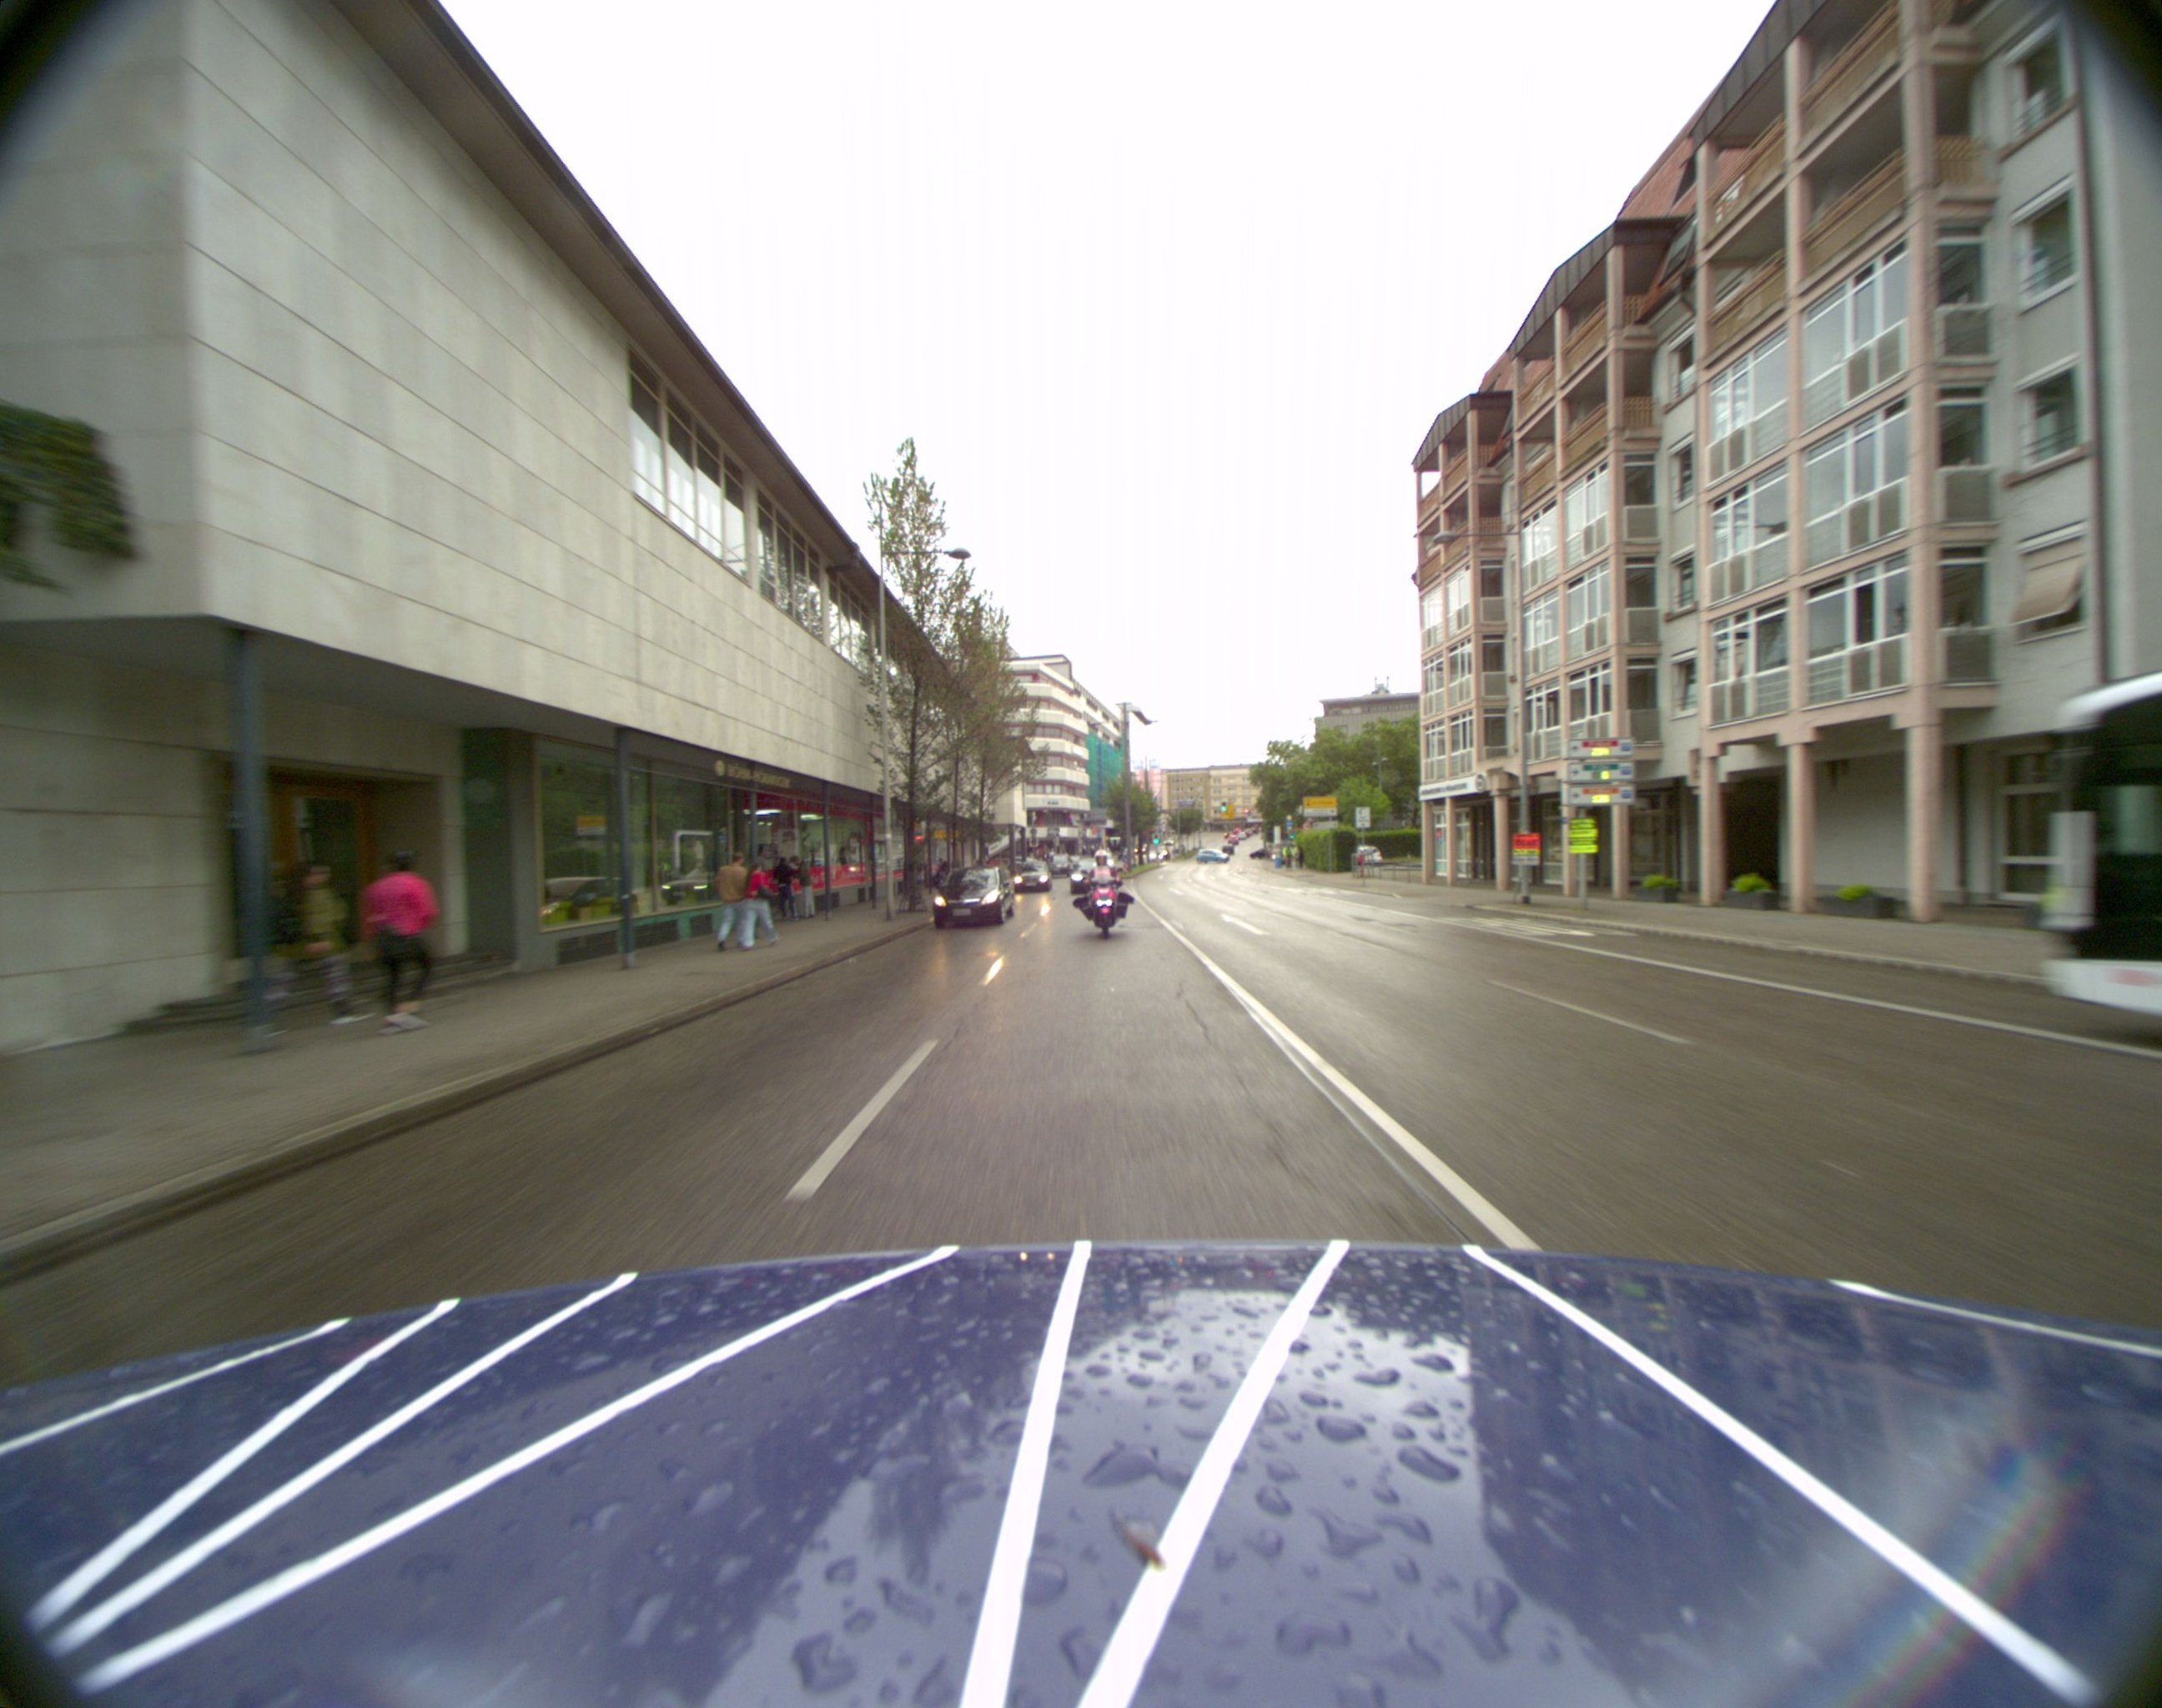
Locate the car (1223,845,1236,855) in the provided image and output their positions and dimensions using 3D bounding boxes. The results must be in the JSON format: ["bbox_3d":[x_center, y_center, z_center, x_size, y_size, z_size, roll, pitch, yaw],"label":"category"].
[{"bbox_3d":[22.222,-0.633,113.415,1.760,1.412,4.099,1,2,12],"label":"car"}]

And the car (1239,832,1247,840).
[{"bbox_3d":[34.017,-3.795,159.435,1.674,1.507,3.646,0,2,13],"label":"car"}]

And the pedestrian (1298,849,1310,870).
[{"bbox_3d":[17.242,0.428,58.718,0.716,1.550,0.565,-1,1,4],"label":"pedestrian"}]

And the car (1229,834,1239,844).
[{"bbox_3d":[28.432,-2.809,141.026,1.830,1.726,4.313,-1,2,12],"label":"car"}]

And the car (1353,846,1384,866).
[{"bbox_3d":[23.155,0.188,61.310,1.598,1.530,3.602,-2,0,8],"label":"car"}]

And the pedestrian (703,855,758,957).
[{"bbox_3d":[-6.337,0.919,13.743,0.700,1.791,0.606,0,1,1],"label":"pedestrian"}]

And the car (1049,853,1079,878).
[{"bbox_3d":[-1.222,0.809,56.166,1.735,1.669,4.249,-3,1,4],"label":"car"}]

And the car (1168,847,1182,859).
[{"bbox_3d":[14.979,-0.166,120.882,1.830,1.727,4.002,0,4,14],"label":"car"}]

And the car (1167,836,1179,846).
[{"bbox_3d":[18.010,-2.513,149.116,1.830,1.727,4.002,0,4,14],"label":"car"}]

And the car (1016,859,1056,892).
[{"bbox_3d":[-2.122,0.985,36.371,1.596,1.432,3.627,-2,0,1],"label":"car"}]

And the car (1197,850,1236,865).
[{"bbox_3d":[14.518,0.409,81.349,3.681,1.465,1.705,-3,-2,33],"label":"car"}]

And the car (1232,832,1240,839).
[{"bbox_3d":[33.628,-4.056,164.724,1.625,1.547,3.662,-1,1,12],"label":"car"}]

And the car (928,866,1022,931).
[{"bbox_3d":[-2.650,1.069,19.759,1.712,1.448,3.743,-2,-1,2],"label":"car"}]

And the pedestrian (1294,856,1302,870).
[{"bbox_3d":[16.960,0.696,59.322,0.469,1.144,0.502,-1,1,5],"label":"pedestrian"}]

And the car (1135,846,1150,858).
[{"bbox_3d":[10.281,-0.398,126.032,1.830,1.727,4.002,0,4,14],"label":"car"}]

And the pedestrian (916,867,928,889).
[{"bbox_3d":[-8.102,1.213,38.805,0.431,1.129,0.508,-1,1,-34],"label":"pedestrian"}]

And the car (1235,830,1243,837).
[{"bbox_3d":[37.610,-4.936,180.770,1.716,1.471,3.960,1,2,12],"label":"car"}]

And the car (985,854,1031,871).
[{"bbox_3d":[-7.107,0.834,73.665,3.989,1.468,2.003,-2,2,32],"label":"car"}]

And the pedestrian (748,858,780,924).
[{"bbox_3d":[-8.394,0.969,20.111,0.537,1.709,0.535,-1,1,11],"label":"pedestrian"}]

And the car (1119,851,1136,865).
[{"bbox_3d":[6.806,0.603,111.034,1.830,1.727,4.002,0,4,14],"label":"car"}]

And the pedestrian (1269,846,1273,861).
[{"bbox_3d":[23.461,-0.076,93.996,0.412,1.753,0.677,-1,0,11],"label":"pedestrian"}]

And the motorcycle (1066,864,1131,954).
[{"bbox_3d":[0.398,0.965,14.469,0.831,1.479,2.867,0,0,10],"label":"motorcycle"}]

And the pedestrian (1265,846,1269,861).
[{"bbox_3d":[22.745,-0.045,92.797,0.447,1.827,0.676,-1,4,9],"label":"pedestrian"}]

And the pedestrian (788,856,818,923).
[{"bbox_3d":[-7.593,0.967,20.778,0.537,1.809,0.535,-1,1,9],"label":"pedestrian"}]

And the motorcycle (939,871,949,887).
[{"bbox_3d":[-7.217,1.309,40.067,0.325,0.799,0.920,0,0,1],"label":"motorcycle"}]

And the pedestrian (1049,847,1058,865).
[{"bbox_3d":[-2.904,0.202,80.300,0.623,1.837,0.848,-1,3,20],"label":"pedestrian"}]

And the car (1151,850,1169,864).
[{"bbox_3d":[9.536,0.324,91.810,1.768,1.401,4.002,-3,2,11],"label":"car"}]

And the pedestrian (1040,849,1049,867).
[{"bbox_3d":[-3.861,0.414,80.231,0.623,1.764,0.678,-1,3,20],"label":"pedestrian"}]

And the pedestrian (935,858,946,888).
[{"bbox_3d":[-7.315,0.978,39.542,0.430,1.557,0.510,-1,1,5],"label":"pedestrian"}]

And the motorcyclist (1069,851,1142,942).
[{"bbox_3d":[0.507,0.840,15.202,1.295,1.756,0.846,-1,0,11],"label":"motorcyclist"}]

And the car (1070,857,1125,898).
[{"bbox_3d":[0.788,0.931,32.145,1.937,1.511,4.470,-2,0,6],"label":"car"}]

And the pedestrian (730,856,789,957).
[{"bbox_3d":[-5.788,0.921,13.732,0.655,1.757,0.923,0,1,1],"label":"pedestrian"}]

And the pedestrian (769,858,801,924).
[{"bbox_3d":[-7.738,0.961,19.884,0.537,1.709,0.535,-1,1,9],"label":"pedestrian"}]

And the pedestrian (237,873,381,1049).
[{"bbox_3d":[-7.308,0.982,7.217,0.727,1.580,0.606,0,1,1],"label":"pedestrian"}]

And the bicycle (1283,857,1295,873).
[{"bbox_3d":[15.256,0.784,55.684,0.651,1.104,2.059,-1,1,10],"label":"bicycle"}]

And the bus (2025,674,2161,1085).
[{"bbox_3d":[9.263,0.072,0.296,2.751,3.057,12.240,-2,-1,2],"label":"bus"}]

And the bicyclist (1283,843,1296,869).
[{"bbox_3d":[15.223,0.119,55.533,0.793,1.879,0.954,-1,1,9],"label":"bicyclist"}]

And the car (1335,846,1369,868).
[{"bbox_3d":[20.113,0.226,56.487,1.598,1.530,3.602,-2,0,8],"label":"car"}]

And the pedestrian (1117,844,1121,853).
[{"bbox_3d":[6.649,-0.967,133.562,0.429,1.481,0.523,-3,4,-18],"label":"pedestrian"}]

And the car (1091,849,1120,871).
[{"bbox_3d":[2.006,0.484,61.067,1.630,1.731,3.604,0,0,14],"label":"car"}]

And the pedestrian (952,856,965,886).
[{"bbox_3d":[-6.572,0.910,40.674,0.429,1.557,0.510,0,1,42],"label":"pedestrian"}]

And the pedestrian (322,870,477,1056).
[{"bbox_3d":[-6.251,0.962,7.015,0.719,1.610,0.769,0,1,1],"label":"pedestrian"}]

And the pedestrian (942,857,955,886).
[{"bbox_3d":[-7.005,0.921,40.259,0.510,1.557,0.429,-1,1,-43],"label":"pedestrian"}]

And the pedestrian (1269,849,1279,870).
[{"bbox_3d":[16.476,0.494,64.852,0.630,1.754,0.528,-1,1,0],"label":"pedestrian"}]
